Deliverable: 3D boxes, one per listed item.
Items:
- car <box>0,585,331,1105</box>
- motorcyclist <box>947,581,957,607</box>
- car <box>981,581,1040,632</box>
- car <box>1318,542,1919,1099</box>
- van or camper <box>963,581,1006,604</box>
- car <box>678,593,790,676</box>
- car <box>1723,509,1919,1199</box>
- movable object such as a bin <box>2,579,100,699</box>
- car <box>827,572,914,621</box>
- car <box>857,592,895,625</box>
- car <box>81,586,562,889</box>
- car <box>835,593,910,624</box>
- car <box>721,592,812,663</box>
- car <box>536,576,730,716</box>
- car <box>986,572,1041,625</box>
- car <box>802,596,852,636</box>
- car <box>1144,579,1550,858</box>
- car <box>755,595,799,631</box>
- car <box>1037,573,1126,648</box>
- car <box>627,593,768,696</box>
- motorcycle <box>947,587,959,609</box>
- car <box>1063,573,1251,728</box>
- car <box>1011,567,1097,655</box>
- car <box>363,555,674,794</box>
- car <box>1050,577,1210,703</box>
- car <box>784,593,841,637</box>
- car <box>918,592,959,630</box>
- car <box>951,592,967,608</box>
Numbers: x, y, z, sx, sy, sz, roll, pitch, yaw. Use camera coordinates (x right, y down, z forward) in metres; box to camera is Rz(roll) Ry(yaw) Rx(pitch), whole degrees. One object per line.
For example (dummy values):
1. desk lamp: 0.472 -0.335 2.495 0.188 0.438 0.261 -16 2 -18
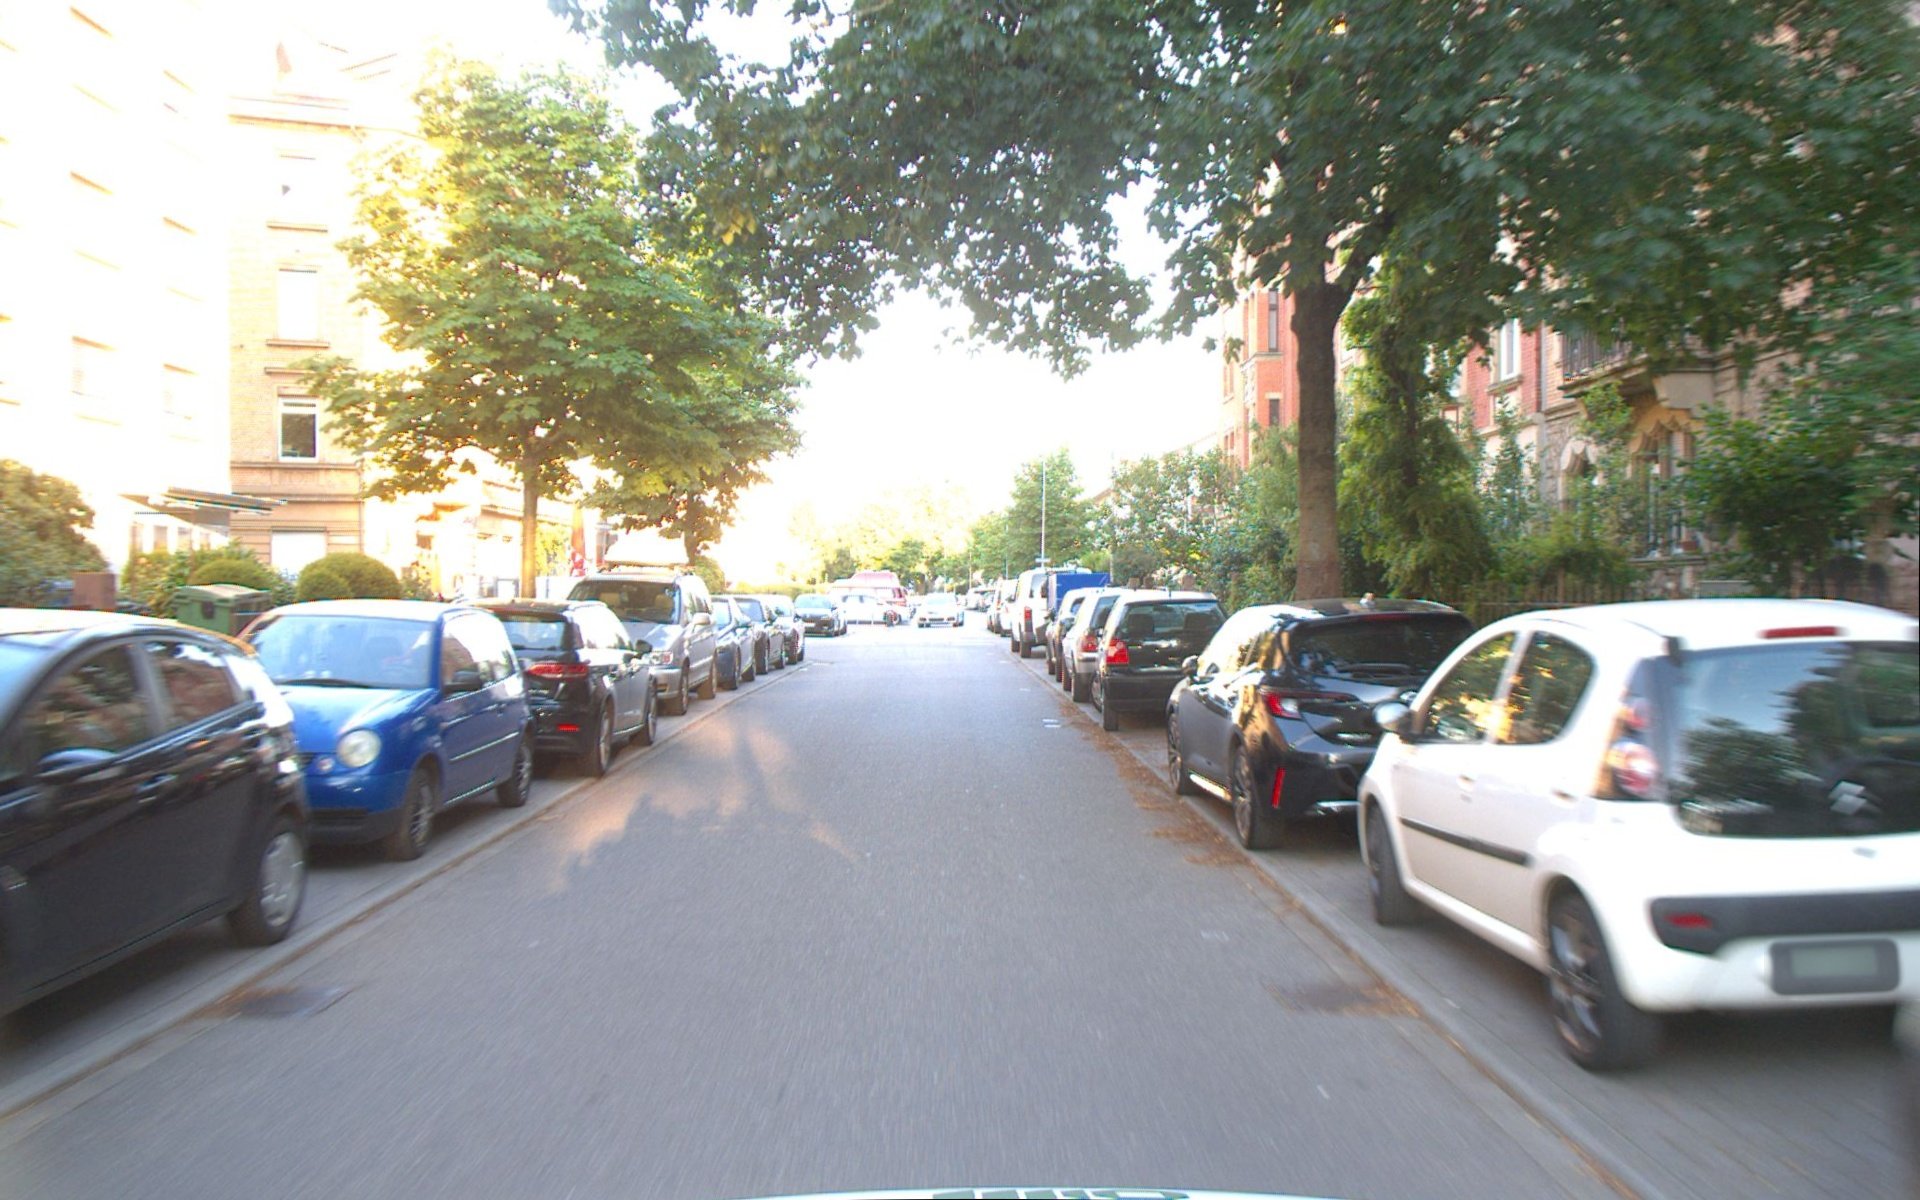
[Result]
1. car: -3.790 0.753 5.903 1.681 1.594 3.780 0 0 -1
2. motorcyclist: -0.521 -0.397 107.605 0.688 1.659 0.822 -1 0 -1
3. car: 1.649 0.216 55.339 1.653 1.634 3.937 0 0 -3
4. car: 2.793 0.644 6.783 1.653 1.634 3.746 0 0 -3
5. van or camper: 3.005 -0.966 204.278 5.170 2.840 1.547 0 0 -12
6. car: -4.241 0.616 31.539 1.681 1.466 3.630 0 1 -1
7. car: 2.675 0.644 1.883 1.652 1.634 4.209 0 0 0
8. movable object such as a bin: -10.977 0.461 19.994 0.719 1.386 0.706 2 0 5
9. car: -4.407 -0.188 81.761 4.262 2.358 1.745 0 1 -3
10. car: -3.893 0.388 76.252 1.682 1.466 3.628 0 1 -4
11. car: -3.861 0.717 10.721 1.681 1.593 3.787 0 1 -1
12. car: -4.218 0.396 79.175 3.547 1.487 1.605 0 1 -5
13. car: -4.242 0.574 36.732 1.566 1.466 3.837 0 1 0
14. car: -4.129 0.516 21.549 1.681 1.624 4.518 0 0 -1
15. car: 1.910 -0.061 60.113 1.653 1.843 3.937 0 0 -3
16. car: -5.172 0.595 64.686 1.680 1.466 3.631 0 1 0
17. car: 2.364 0.647 11.202 1.652 1.466 4.209 -2 0 -1
18. car: -7.836 0.525 71.113 1.682 1.466 3.628 -1 0 -4
19. car: 2.581 0.207 35.793 1.508 1.548 3.429 0 0 -3
20. car: -4.140 0.650 26.601 1.681 1.490 3.986 0 1 -1
21. motorcycle: -0.458 -0.137 106.218 0.727 1.272 3.378 -1 2 -1
22. car: 2.197 0.528 19.384 1.652 1.634 3.939 0 0 -1
23. car: 2.193 0.246 39.507 1.646 1.975 3.878 0 0 -3
24. car: -3.726 0.537 14.717 1.681 1.821 4.215 0 1 -1
25. car: 2.320 0.517 23.467 1.653 1.634 3.937 0 0 -3
26. car: -5.231 0.536 58.971 1.680 1.512 3.630 0 -1 0
27. car: -0.968 0.470 73.491 1.776 1.624 3.482 0 1 -1
28. car: -0.108 0.009 178.824 1.681 1.624 3.482 0 1 -1
